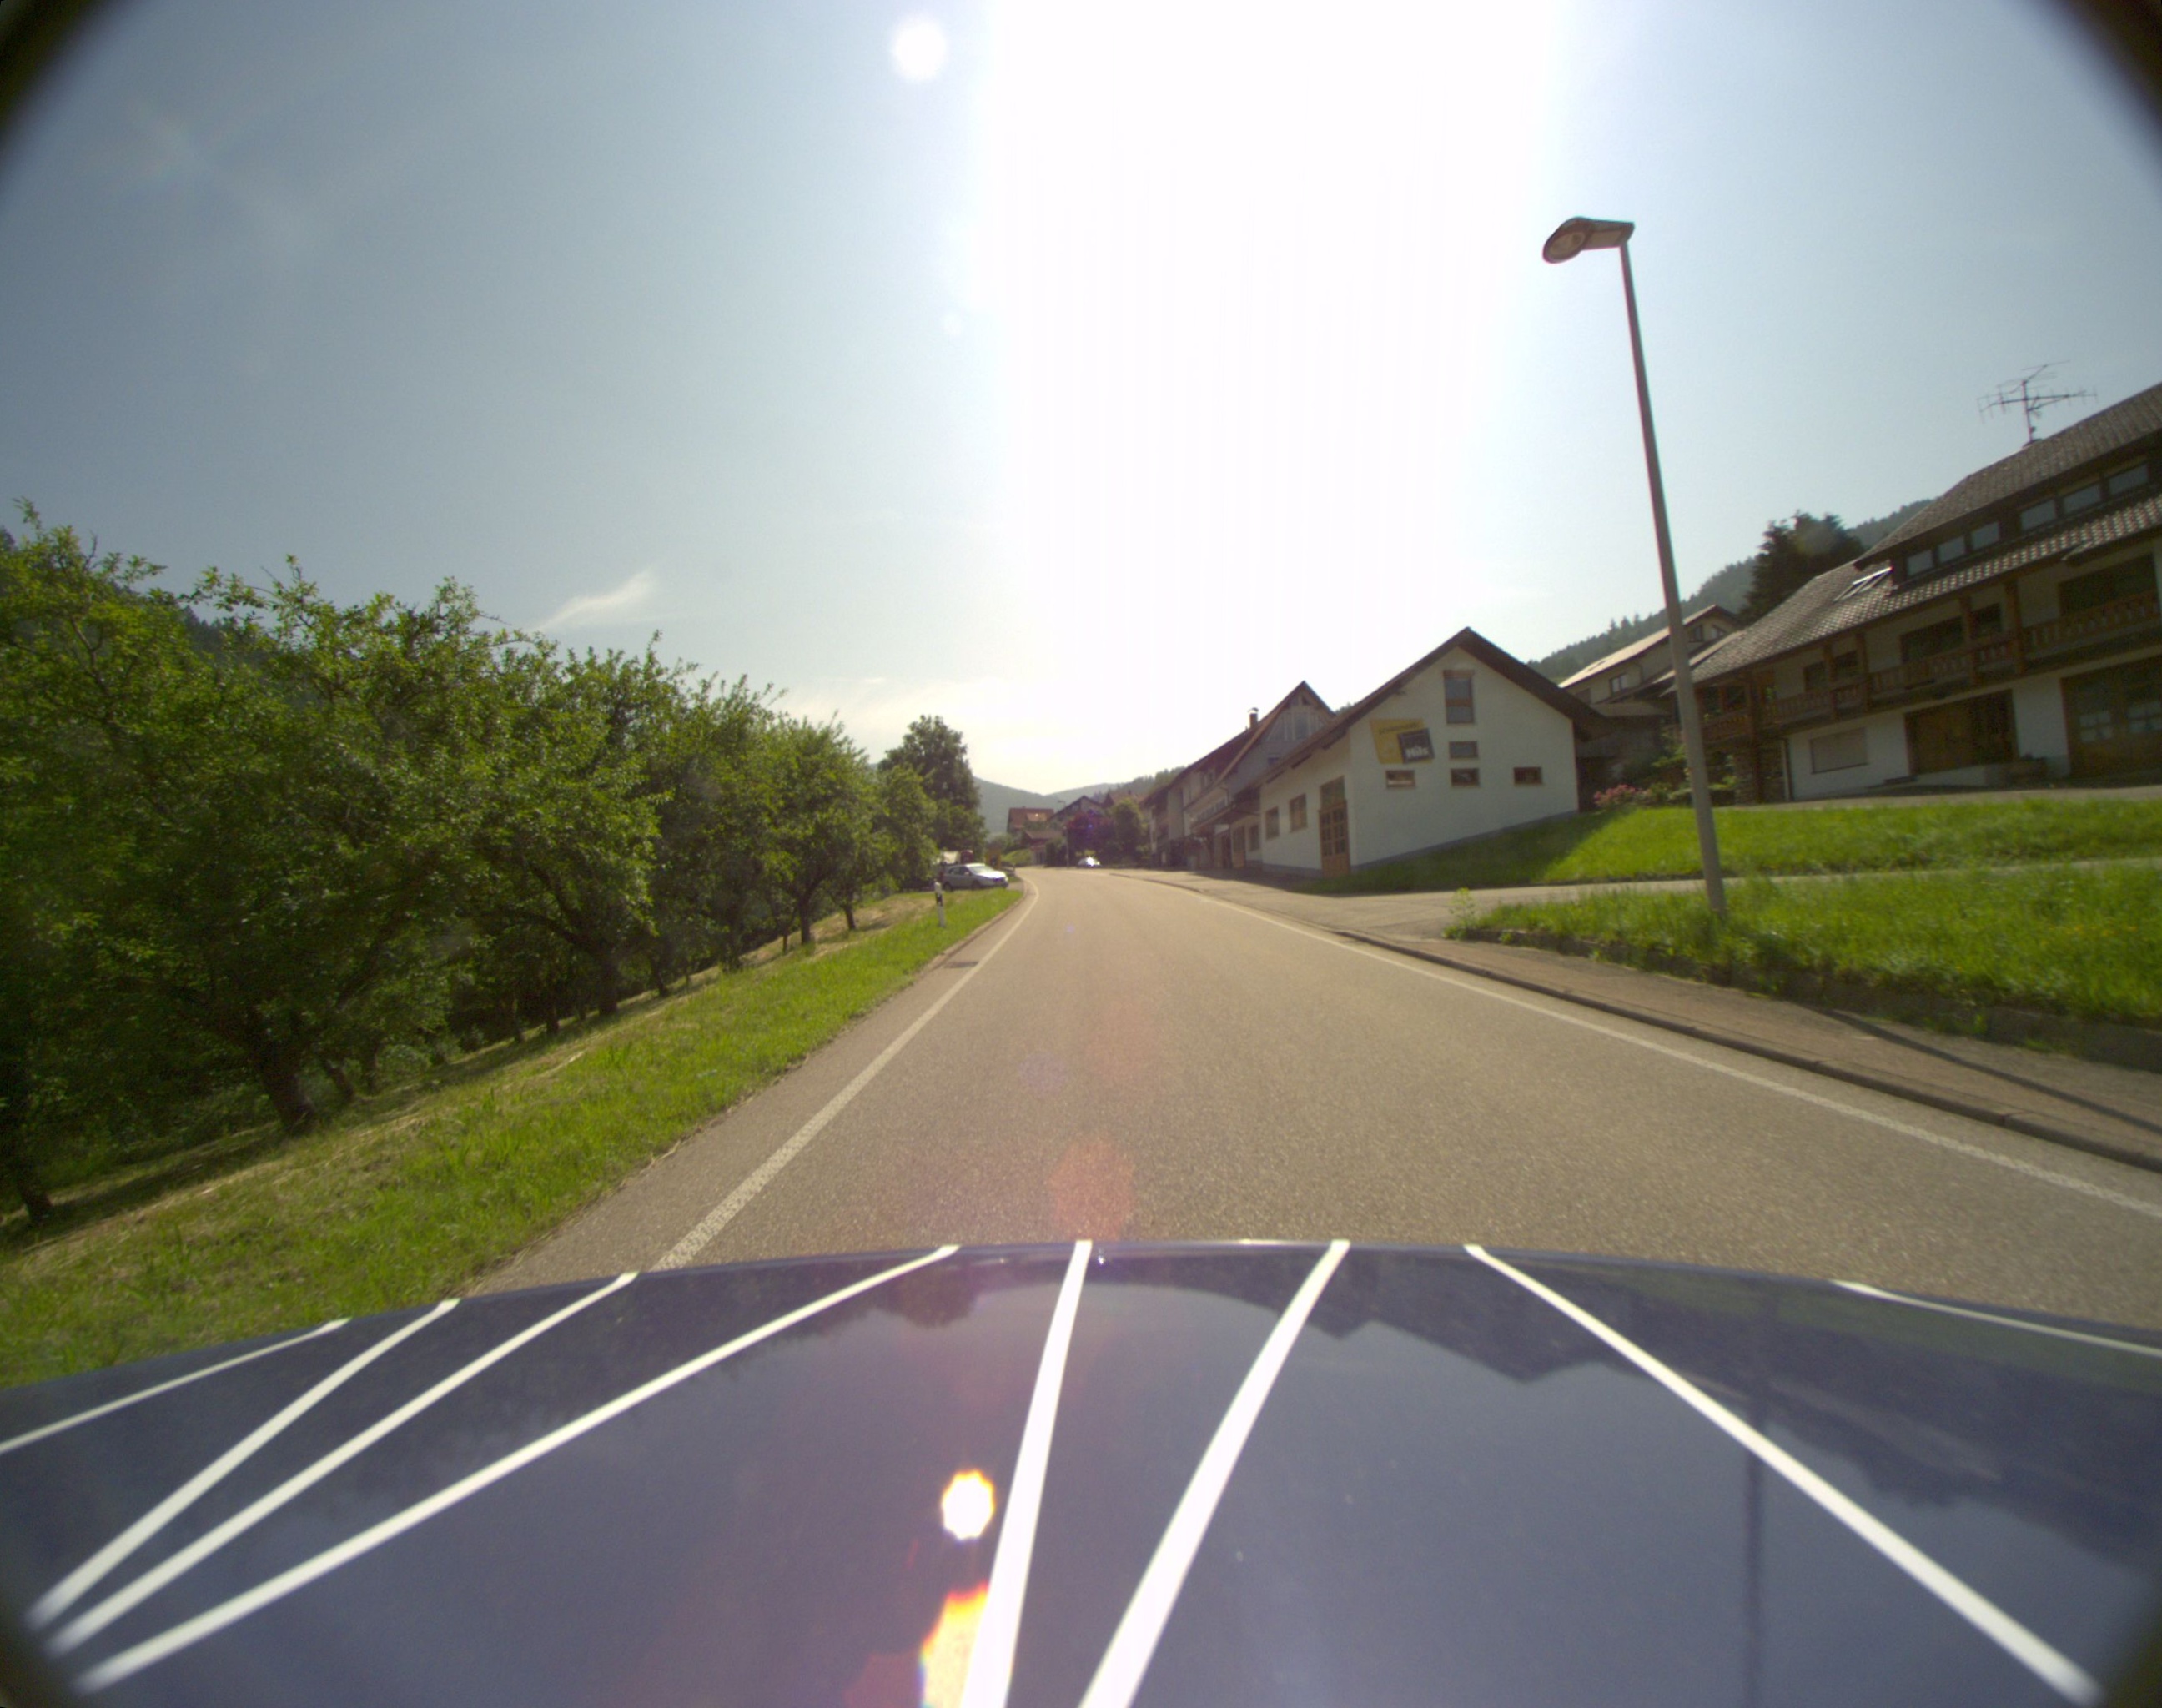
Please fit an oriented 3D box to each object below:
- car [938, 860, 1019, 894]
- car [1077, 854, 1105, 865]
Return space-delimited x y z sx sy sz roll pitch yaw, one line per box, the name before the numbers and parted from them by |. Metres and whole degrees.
car | -5.570 1.247 40.895 1.909 1.561 4.451 -4 0 -44
car | 1.140 0.655 89.764 1.789 1.331 4.689 -2 0 -18
